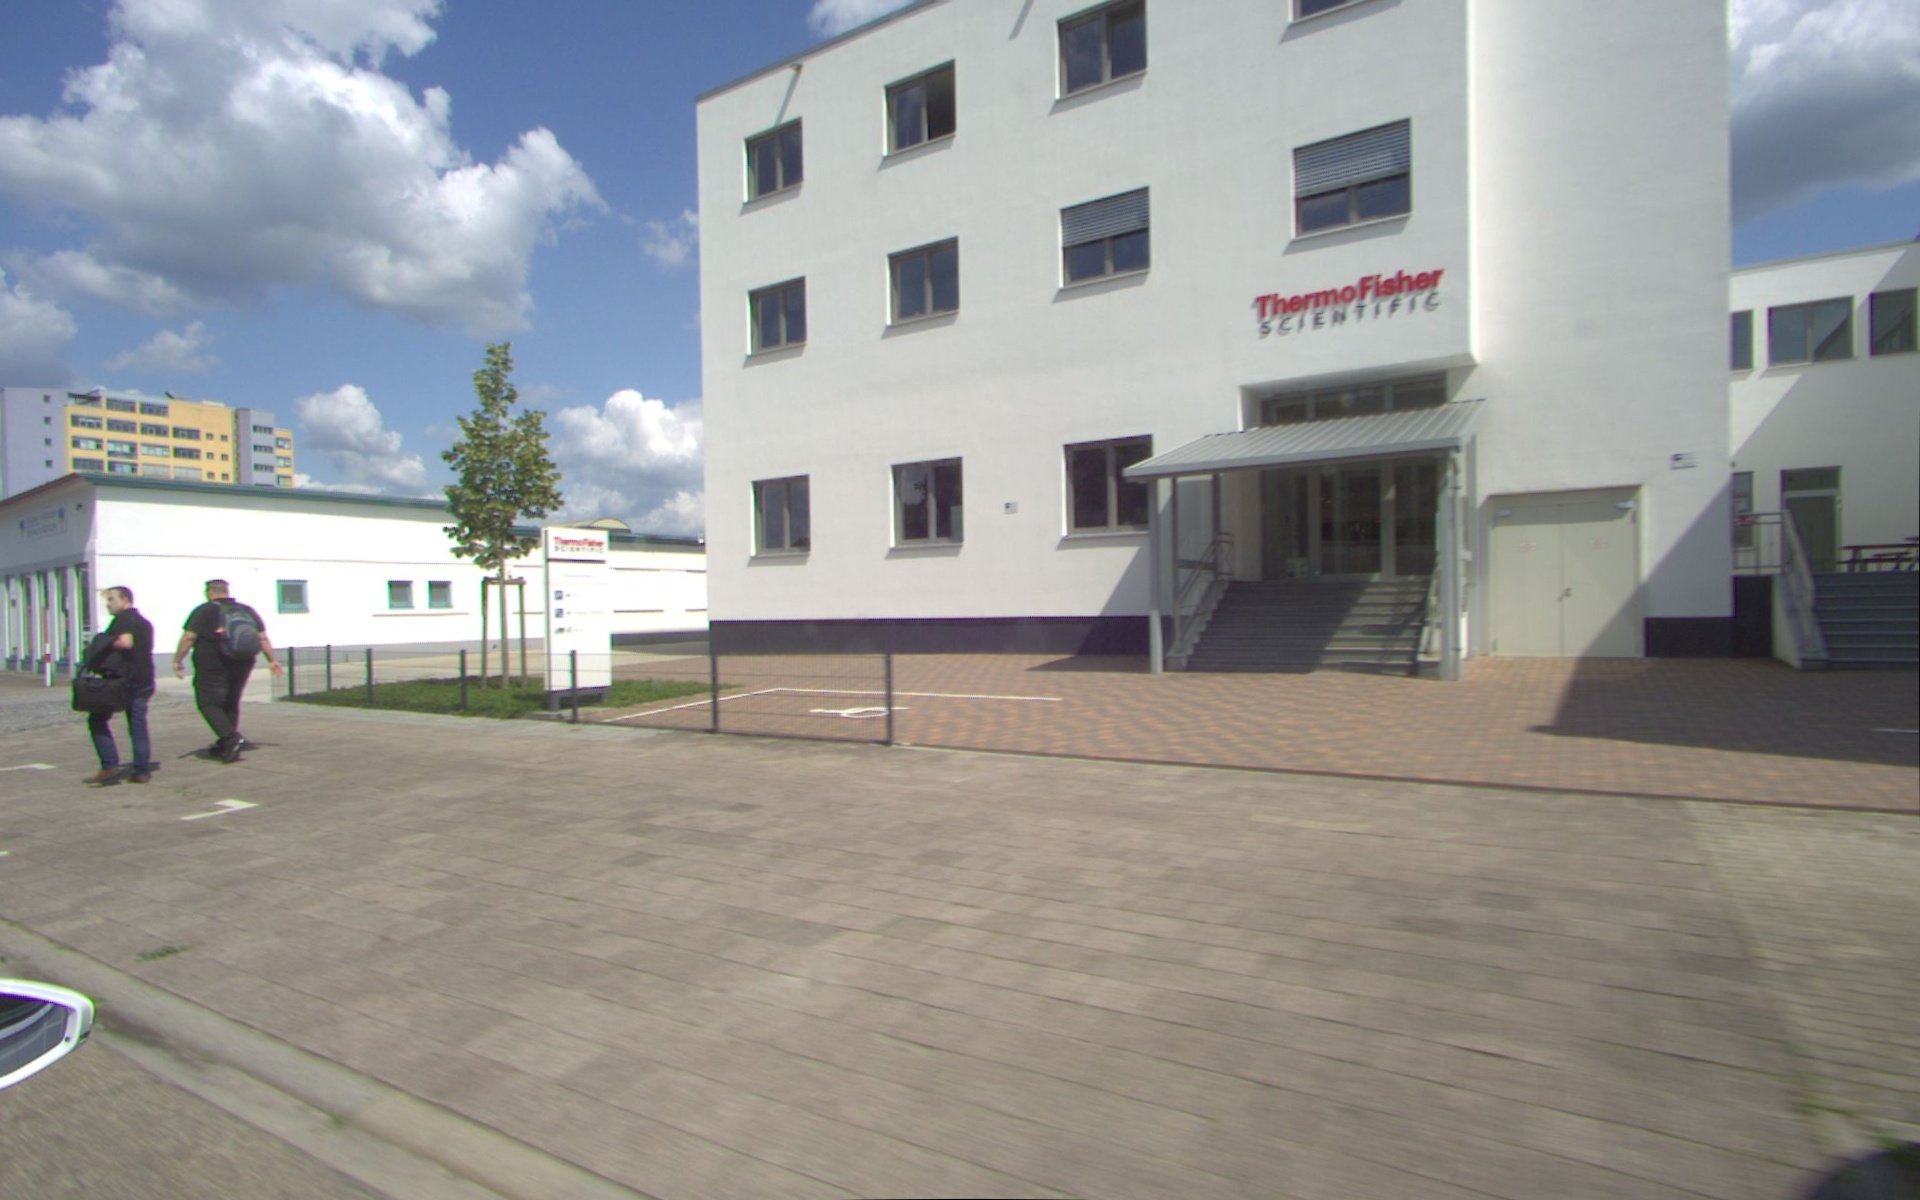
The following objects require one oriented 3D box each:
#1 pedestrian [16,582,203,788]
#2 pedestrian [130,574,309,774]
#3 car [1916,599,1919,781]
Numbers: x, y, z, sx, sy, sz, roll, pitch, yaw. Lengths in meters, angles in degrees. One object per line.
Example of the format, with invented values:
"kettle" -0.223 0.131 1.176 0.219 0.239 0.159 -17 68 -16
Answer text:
"pedestrian" -7.931 0.762 9.381 0.986 1.832 0.858 -1 1 9
"pedestrian" -7.706 0.740 10.465 1.070 1.978 0.992 -1 1 9
"car" 3.659 0.703 0.642 4.119 1.577 1.657 -1 -3 33
